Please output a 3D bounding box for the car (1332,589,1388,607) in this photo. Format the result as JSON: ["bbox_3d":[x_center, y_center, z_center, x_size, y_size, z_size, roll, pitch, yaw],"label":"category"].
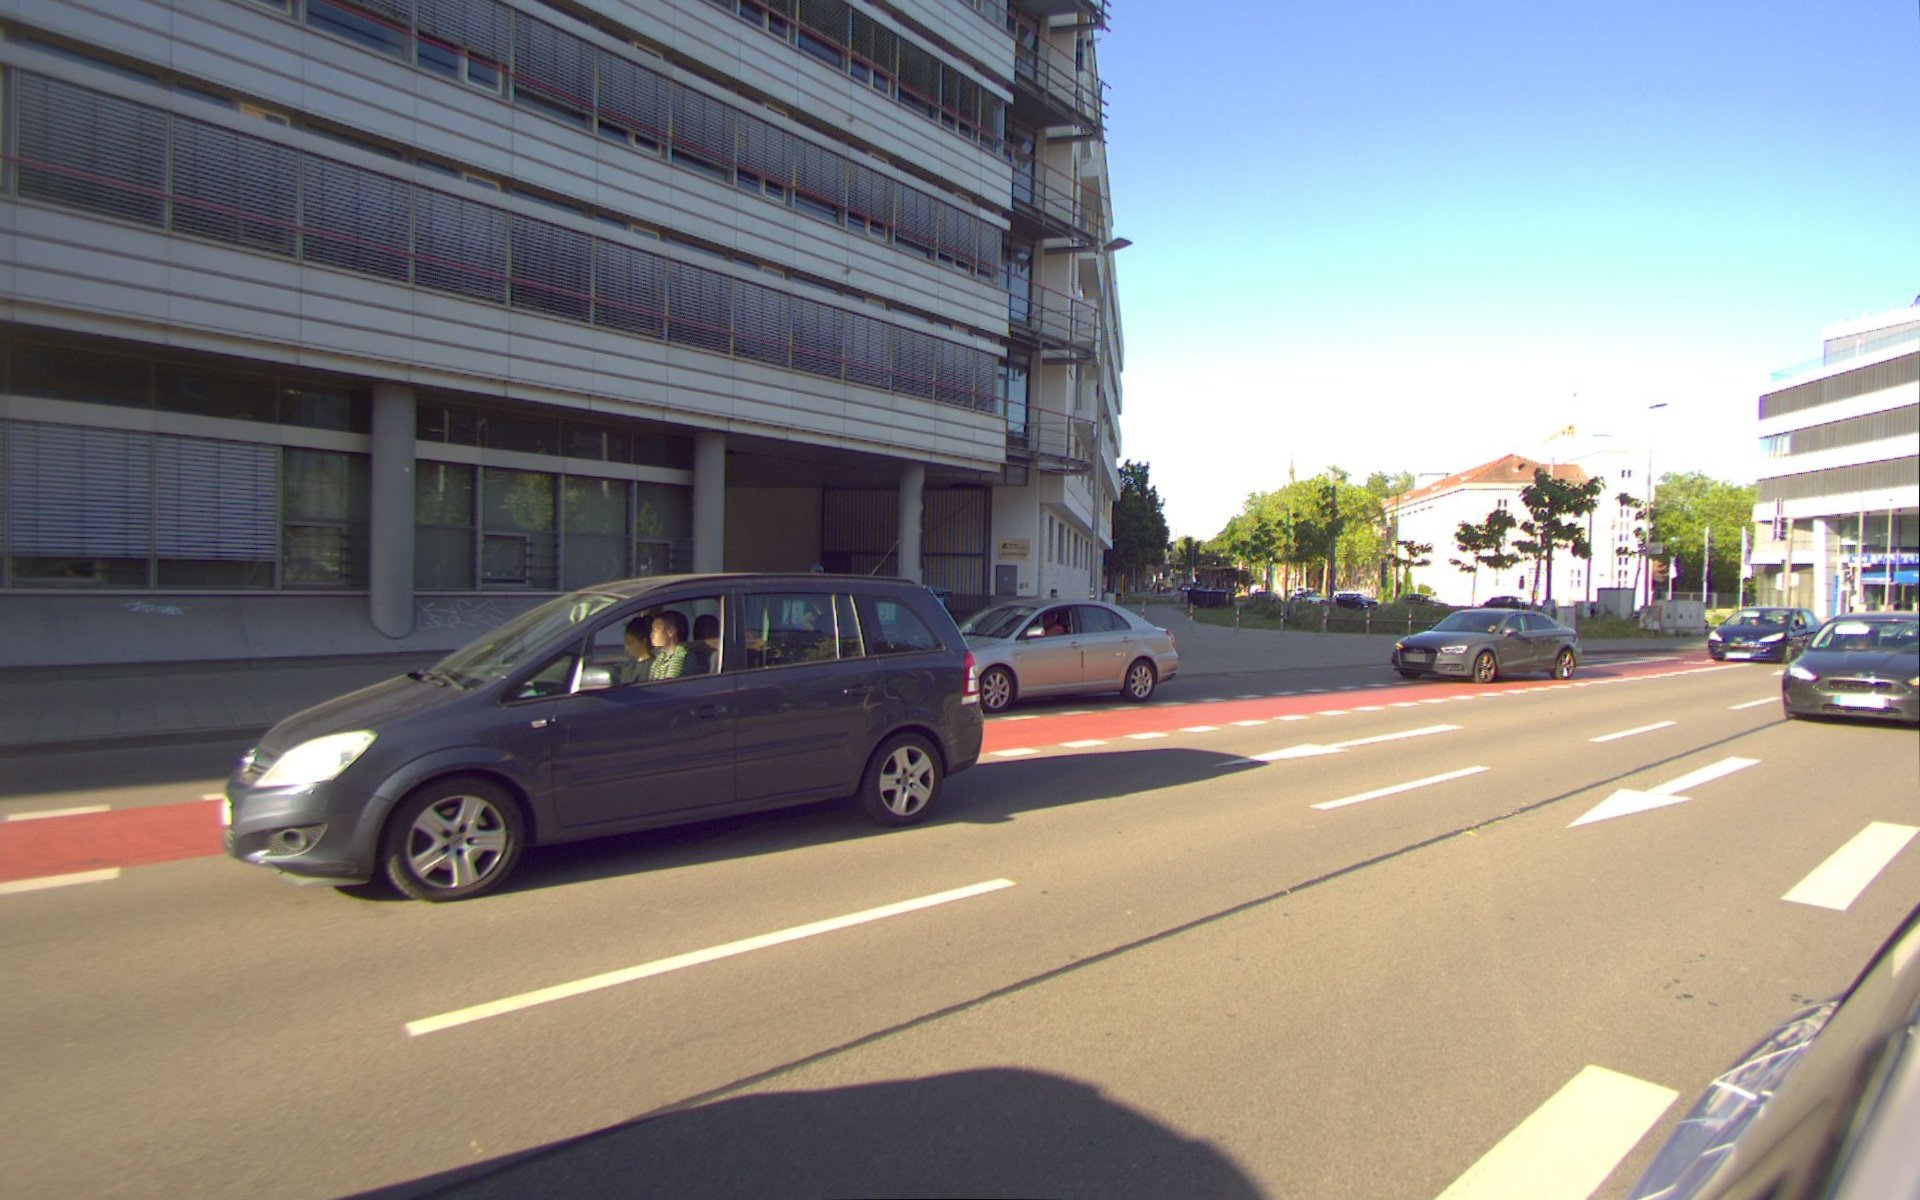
[{"bbox_3d":[34.873,-0.232,88.349,1.958,1.440,4.536,1,1,-21],"label":"car"}]

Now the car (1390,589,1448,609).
[{"bbox_3d":[37.202,-0.097,82.066,1.958,1.440,4.008,1,1,-23],"label":"car"}]

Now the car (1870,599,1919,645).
[{"bbox_3d":[32.955,0.736,34.677,3.919,1.463,1.442,1,1,-30],"label":"car"}]

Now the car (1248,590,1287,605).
[{"bbox_3d":[30.992,-0.304,102.084,1.894,1.393,4.009,1,1,-16],"label":"car"}]

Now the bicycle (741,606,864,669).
[{"bbox_3d":[-2.778,0.641,18.035,2.165,1.045,0.500,0,1,-36],"label":"bicycle"}]

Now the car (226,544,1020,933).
[{"bbox_3d":[-1.839,0.565,6.302,4.380,1.649,1.693,0,1,-38],"label":"car"}]

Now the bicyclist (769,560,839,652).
[{"bbox_3d":[-2.753,0.096,17.878,1.024,1.586,0.626,0,1,-36],"label":"bicyclist"}]

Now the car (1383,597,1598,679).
[{"bbox_3d":[10.560,0.703,20.121,4.026,1.459,1.719,0,1,-26],"label":"car"}]

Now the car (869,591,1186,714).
[{"bbox_3d":[1.052,0.638,14.303,4.406,1.449,1.756,0,1,-38],"label":"car"}]

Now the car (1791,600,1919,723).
[{"bbox_3d":[12.843,0.740,13.734,4.079,1.451,1.689,0,0,-40],"label":"car"}]

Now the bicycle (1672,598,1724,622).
[{"bbox_3d":[44.616,0.581,61.228,0.932,1.328,2.375,1,1,-29],"label":"bicycle"}]

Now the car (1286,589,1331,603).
[{"bbox_3d":[32.618,-0.394,94.850,1.958,1.259,4.009,1,1,-17],"label":"car"}]

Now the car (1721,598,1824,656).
[{"bbox_3d":[22.344,0.685,27.769,3.934,1.464,1.733,0,0,-44],"label":"car"}]
